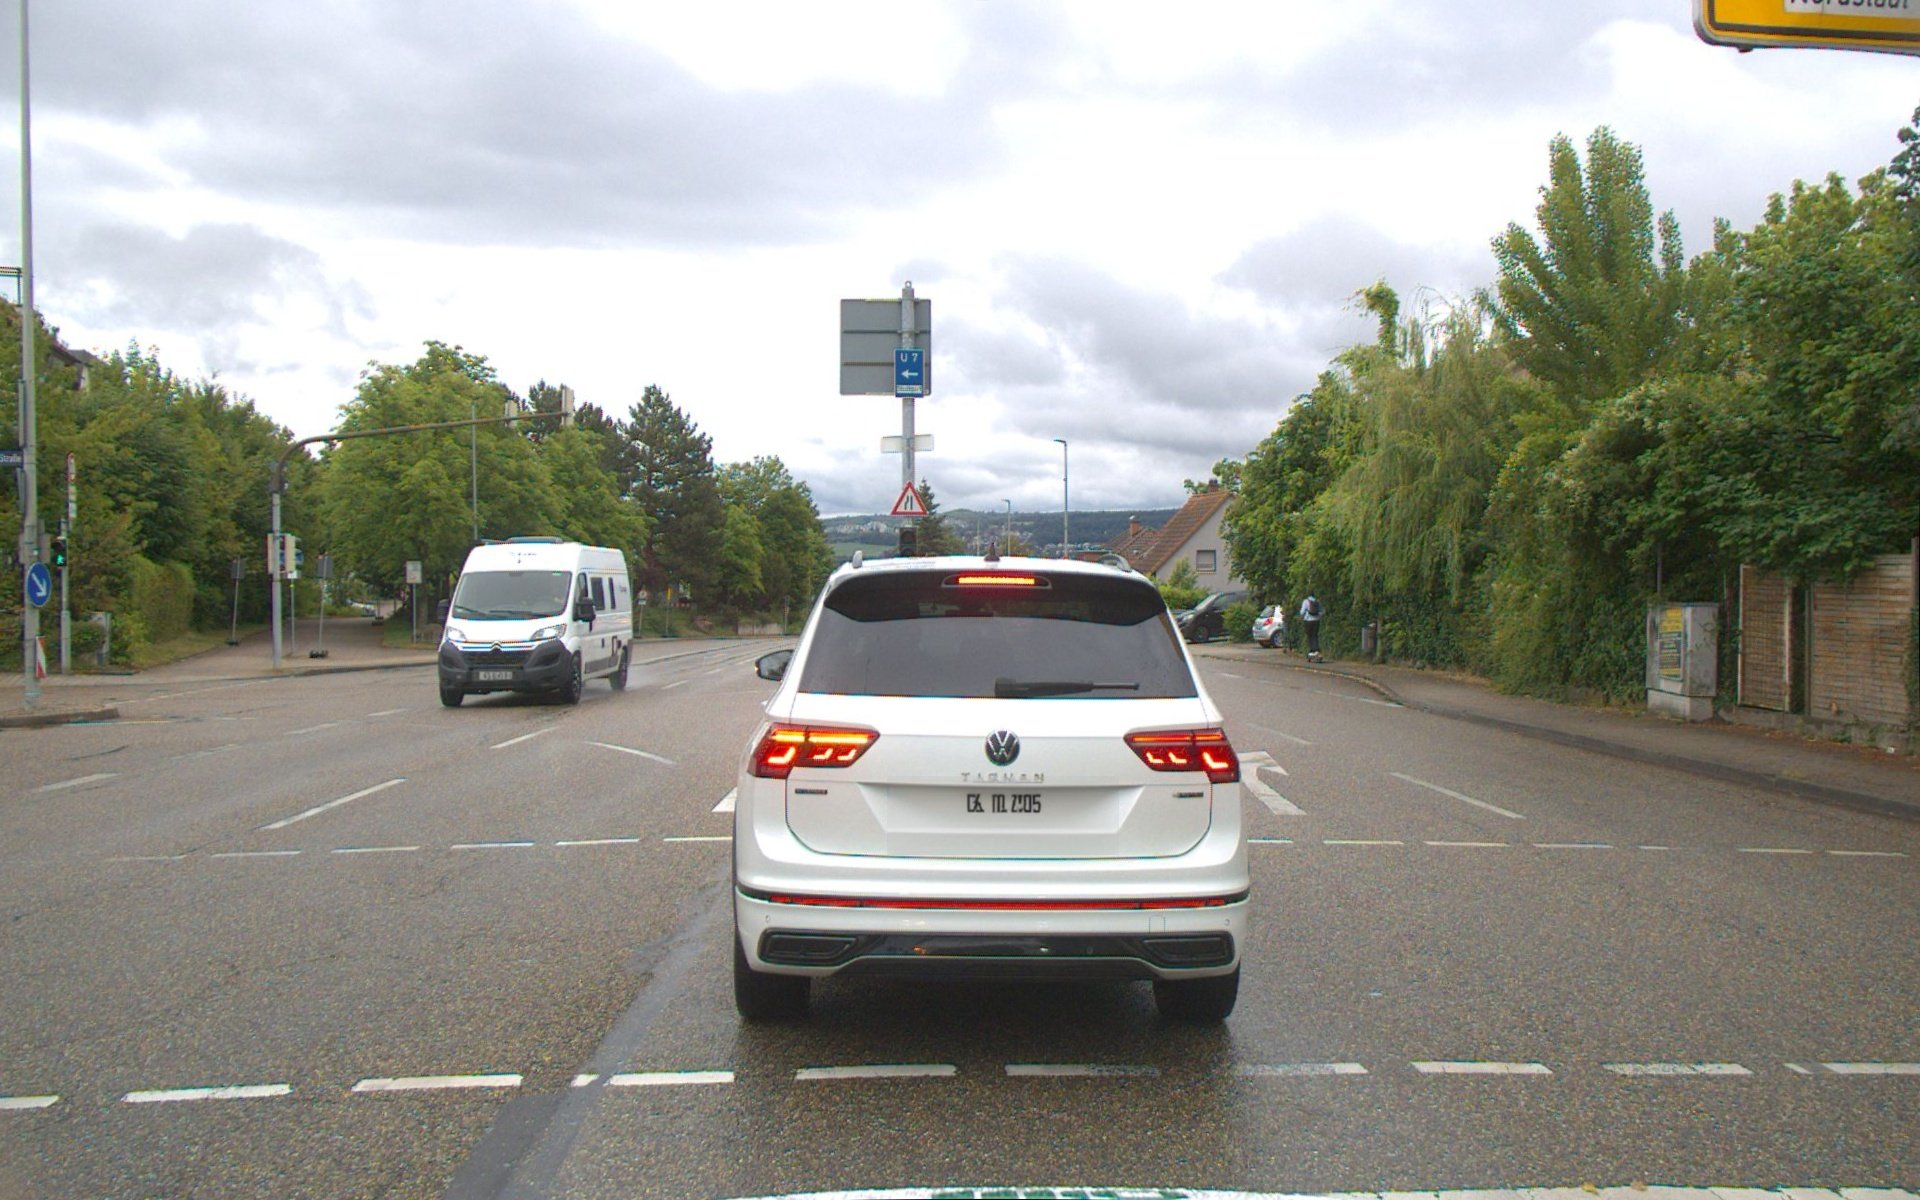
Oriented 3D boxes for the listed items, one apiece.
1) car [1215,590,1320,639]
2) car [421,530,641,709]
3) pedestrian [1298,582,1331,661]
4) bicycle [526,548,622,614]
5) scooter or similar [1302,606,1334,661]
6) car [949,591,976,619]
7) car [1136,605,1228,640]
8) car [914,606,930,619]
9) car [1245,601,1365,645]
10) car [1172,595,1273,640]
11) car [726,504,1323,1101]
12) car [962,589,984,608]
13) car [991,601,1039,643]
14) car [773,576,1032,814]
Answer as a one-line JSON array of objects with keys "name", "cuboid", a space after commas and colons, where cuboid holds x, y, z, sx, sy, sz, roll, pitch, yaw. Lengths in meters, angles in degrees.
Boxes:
[{"name": "car", "cuboid": [11.445, 0.526, 61.704, 3.556, 1.777, 1.706, 0, 1, -5]}, {"name": "car", "cuboid": [-6.833, 0.268, 27.097, 2.251, 2.572, 5.771, -1, 0, -2]}, {"name": "pedestrian", "cuboid": [9.189, 0.553, 42.893, 0.642, 2.037, 0.717, 0, 0, -4]}, {"name": "bicycle", "cuboid": [-7.046, -0.347, 30.225, 1.603, 1.145, 0.468, -2, 1, -3]}, {"name": "scooter or similar", "cuboid": [9.229, 0.857, 42.683, 0.452, 1.385, 1.383, 0, 0, -4]}, {"name": "car", "cuboid": [0.160, 0.337, 120.030, 1.813, 1.600, 4.002, 4, 5, -1]}, {"name": "car", "cuboid": [9.222, 0.956, 68.819, 3.613, 1.394, 1.518, 1, -2, -3]}, {"name": "car", "cuboid": [-4.620, 1.500, 201.019, 1.813, 1.602, 3.999, -1, 0, -1]}, {"name": "car", "cuboid": [11.730, 0.777, 56.367, 3.644, 1.420, 1.725, -1, -1, -8]}, {"name": "car", "cuboid": [10.170, 0.671, 64.197, 3.556, 1.654, 1.790, 0, 1, -5]}, {"name": "car", "cuboid": [0.140, 0.603, 7.065, 1.727, 1.725, 4.271, 2, 0, -2]}, {"name": "car", "cuboid": [1.118, -0.160, 145.564, 1.813, 1.602, 3.999, -1, 0, -1]}, {"name": "car", "cuboid": [1.991, 0.778, 60.859, 1.592, 1.427, 3.689, 1, 0, -1]}, {"name": "car", "cuboid": [-0.372, 0.641, 13.237, 1.761, 1.617, 3.926, 0, 0, 0]}]
